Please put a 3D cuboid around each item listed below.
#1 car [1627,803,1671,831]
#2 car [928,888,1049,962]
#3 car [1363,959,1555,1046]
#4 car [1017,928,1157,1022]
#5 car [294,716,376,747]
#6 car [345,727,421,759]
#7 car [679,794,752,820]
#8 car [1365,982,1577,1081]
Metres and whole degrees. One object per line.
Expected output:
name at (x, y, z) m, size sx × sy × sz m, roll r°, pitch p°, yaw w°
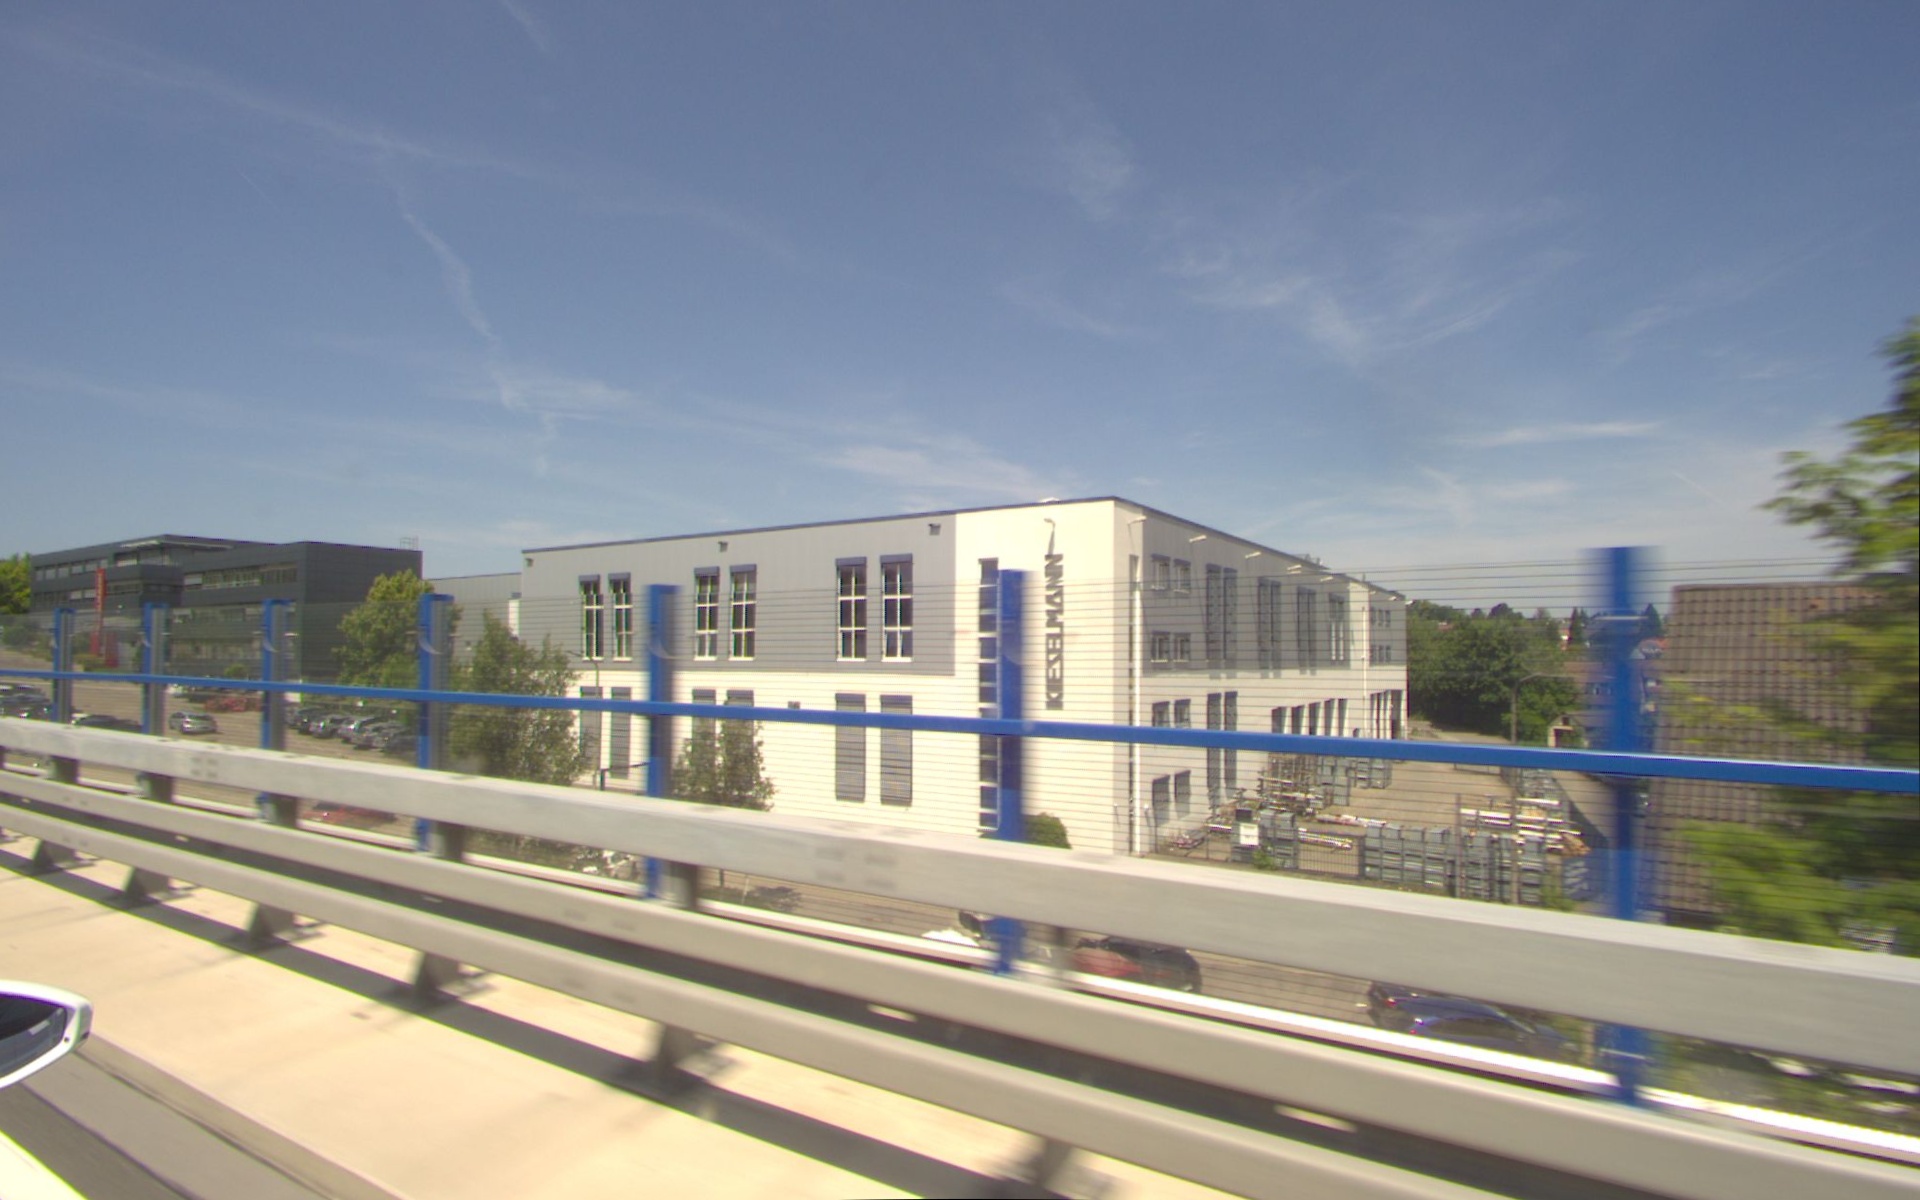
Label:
car at (44.749, 14.084, 65.085) m, size 1.795 × 1.584 × 3.996 m, roll -1°, pitch -10°, yaw 27°
car at (0.785, 9.700, 30.154) m, size 1.706 × 1.381 × 3.983 m, roll 8°, pitch -9°, yaw -31°
car at (12.383, 10.020, 25.053) m, size 3.922 × 1.381 × 1.732 m, roll 2°, pitch -8°, yaw 6°
car at (3.201, 9.629, 25.981) m, size 1.703 × 1.381 × 3.991 m, roll 7°, pitch -9°, yaw -25°
car at (-43.816, 9.201, 70.276) m, size 1.793 × 1.593 × 4.566 m, roll 3°, pitch 0°, yaw 31°
car at (-39.052, 9.656, 67.904) m, size 1.883 × 1.593 × 4.032 m, roll 3°, pitch 0°, yaw 31°
car at (-12.855, 10.878, 52.830) m, size 1.491 × 1.160 × 3.669 m, roll -2°, pitch -10°, yaw 34°
car at (11.514, 9.762, 22.790) m, size 3.922 × 1.381 × 1.732 m, roll 2°, pitch -8°, yaw 6°
